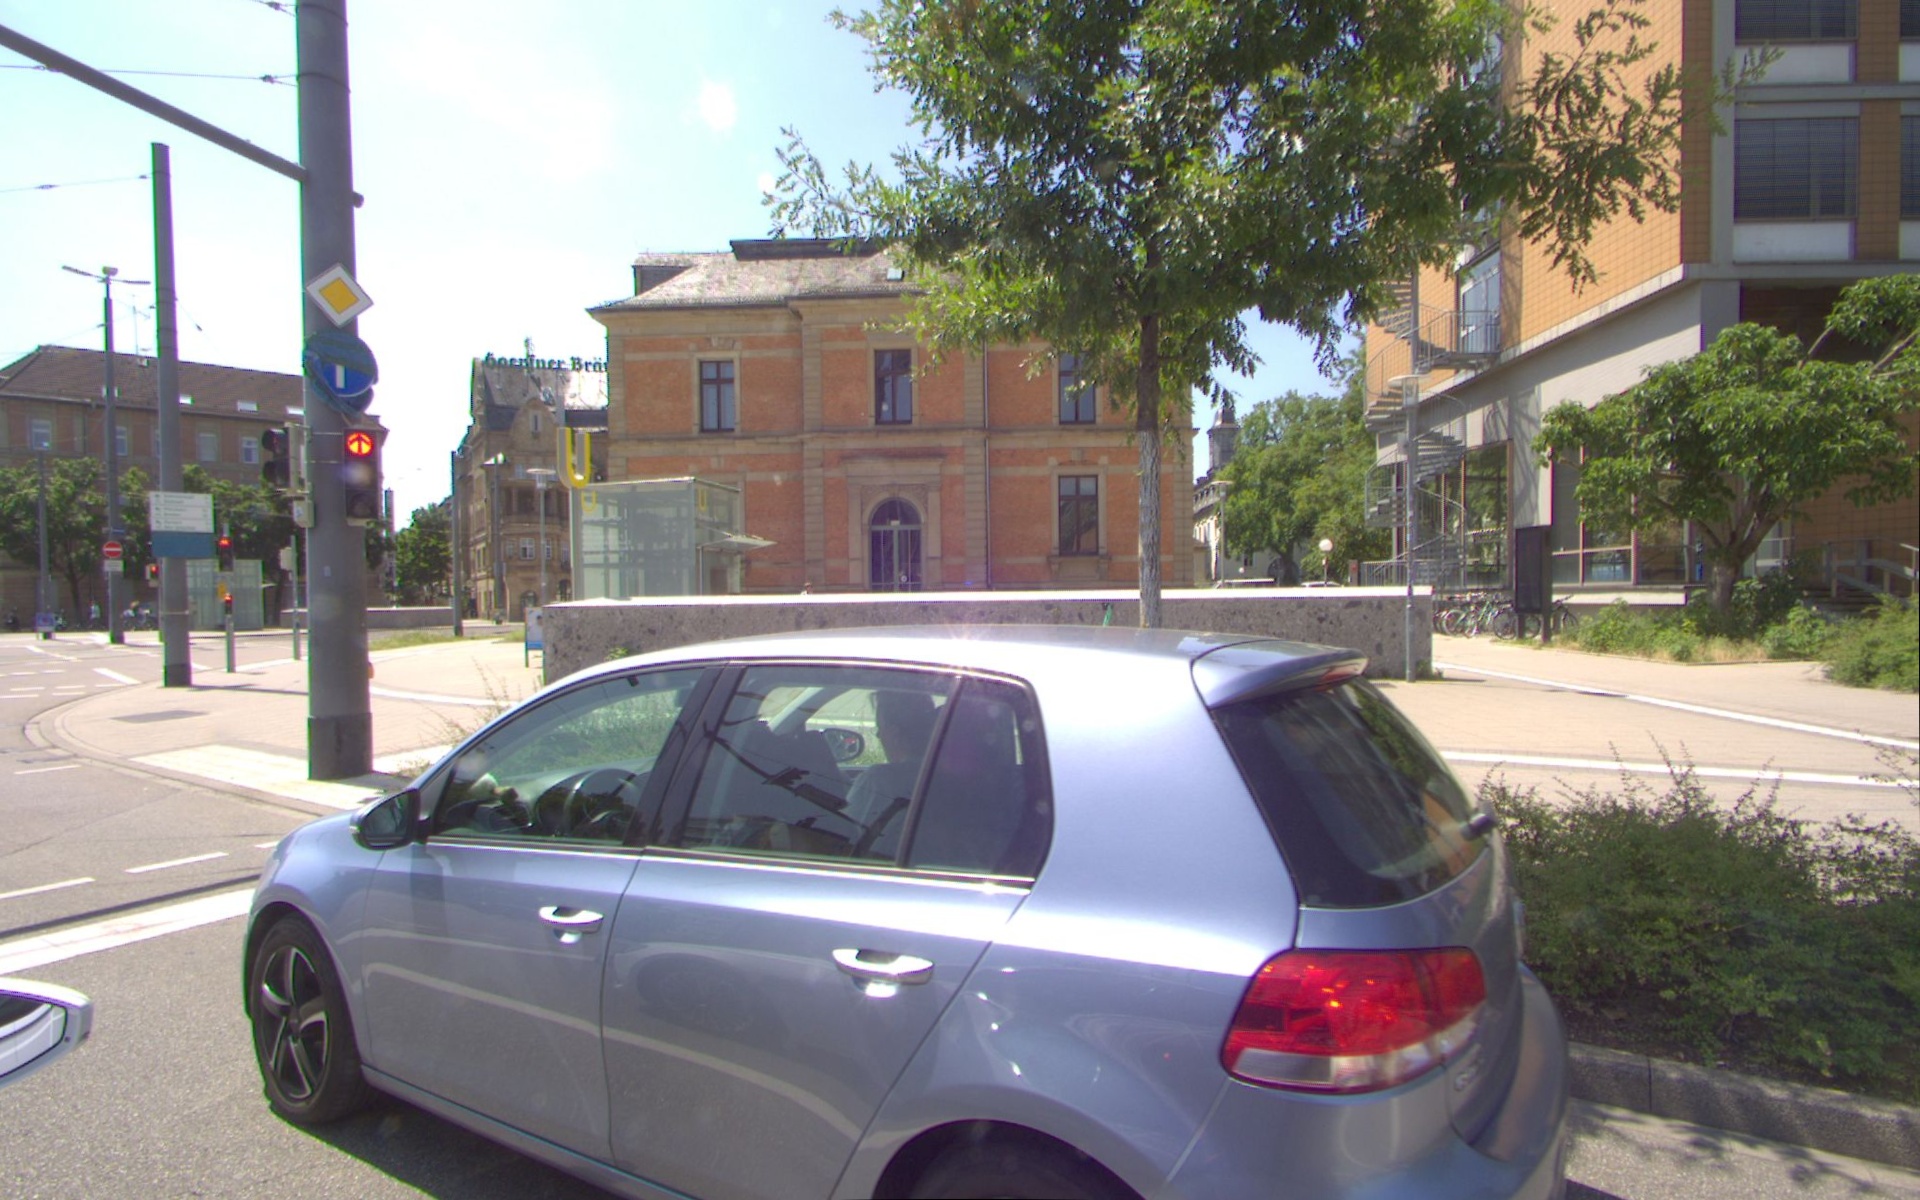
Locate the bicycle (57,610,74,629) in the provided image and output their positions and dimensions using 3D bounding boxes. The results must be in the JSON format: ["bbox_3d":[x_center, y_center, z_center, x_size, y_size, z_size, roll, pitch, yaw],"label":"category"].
[{"bbox_3d":[-55.313,1.211,61.916,2.069,1.160,0.440,-2,-2,39],"label":"bicycle"}]

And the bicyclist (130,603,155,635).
[{"bbox_3d":[-47.571,1.093,58.255,0.469,1.831,1.064,0,-1,8],"label":"bicyclist"}]

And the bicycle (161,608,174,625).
[{"bbox_3d":[-52.026,1.070,65.712,0.547,1.135,1.912,-1,1,-41],"label":"bicycle"}]

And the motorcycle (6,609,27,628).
[{"bbox_3d":[-56.272,1.097,59.697,1.920,1.089,0.578,0,1,36],"label":"motorcycle"}]

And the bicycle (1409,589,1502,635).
[{"bbox_3d":[13.471,0.328,27.285,2.175,1.234,0.637,0,-1,5],"label":"bicycle"}]

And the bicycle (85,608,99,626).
[{"bbox_3d":[-54.121,1.044,62.442,0.546,1.135,1.806,-1,1,-38],"label":"bicycle"}]

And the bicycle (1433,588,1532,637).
[{"bbox_3d":[13.383,0.335,25.686,2.175,1.234,0.637,0,-1,5],"label":"bicycle"}]

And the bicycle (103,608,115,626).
[{"bbox_3d":[-53.427,1.063,62.857,0.547,1.135,1.804,-1,1,-41],"label":"bicycle"}]

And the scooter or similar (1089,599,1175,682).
[{"bbox_3d":[2.547,0.588,14.779,1.227,1.186,0.458,0,1,13],"label":"scooter or similar"}]

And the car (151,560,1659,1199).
[{"bbox_3d":[-0.467,0.725,2.896,3.944,1.478,1.649,0,-1,31],"label":"car"}]

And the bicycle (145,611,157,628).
[{"bbox_3d":[-52.577,1.257,65.073,0.547,1.135,1.854,-1,1,-41],"label":"bicycle"}]

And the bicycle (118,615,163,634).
[{"bbox_3d":[-47.550,1.431,58.132,0.679,1.066,2.112,0,0,8],"label":"bicycle"}]

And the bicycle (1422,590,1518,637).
[{"bbox_3d":[13.471,0.371,26.500,2.175,1.234,0.637,0,-1,5],"label":"bicycle"}]

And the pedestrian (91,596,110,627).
[{"bbox_3d":[-49.317,0.647,57.441,0.627,1.731,0.462,0,1,2],"label":"pedestrian"}]
